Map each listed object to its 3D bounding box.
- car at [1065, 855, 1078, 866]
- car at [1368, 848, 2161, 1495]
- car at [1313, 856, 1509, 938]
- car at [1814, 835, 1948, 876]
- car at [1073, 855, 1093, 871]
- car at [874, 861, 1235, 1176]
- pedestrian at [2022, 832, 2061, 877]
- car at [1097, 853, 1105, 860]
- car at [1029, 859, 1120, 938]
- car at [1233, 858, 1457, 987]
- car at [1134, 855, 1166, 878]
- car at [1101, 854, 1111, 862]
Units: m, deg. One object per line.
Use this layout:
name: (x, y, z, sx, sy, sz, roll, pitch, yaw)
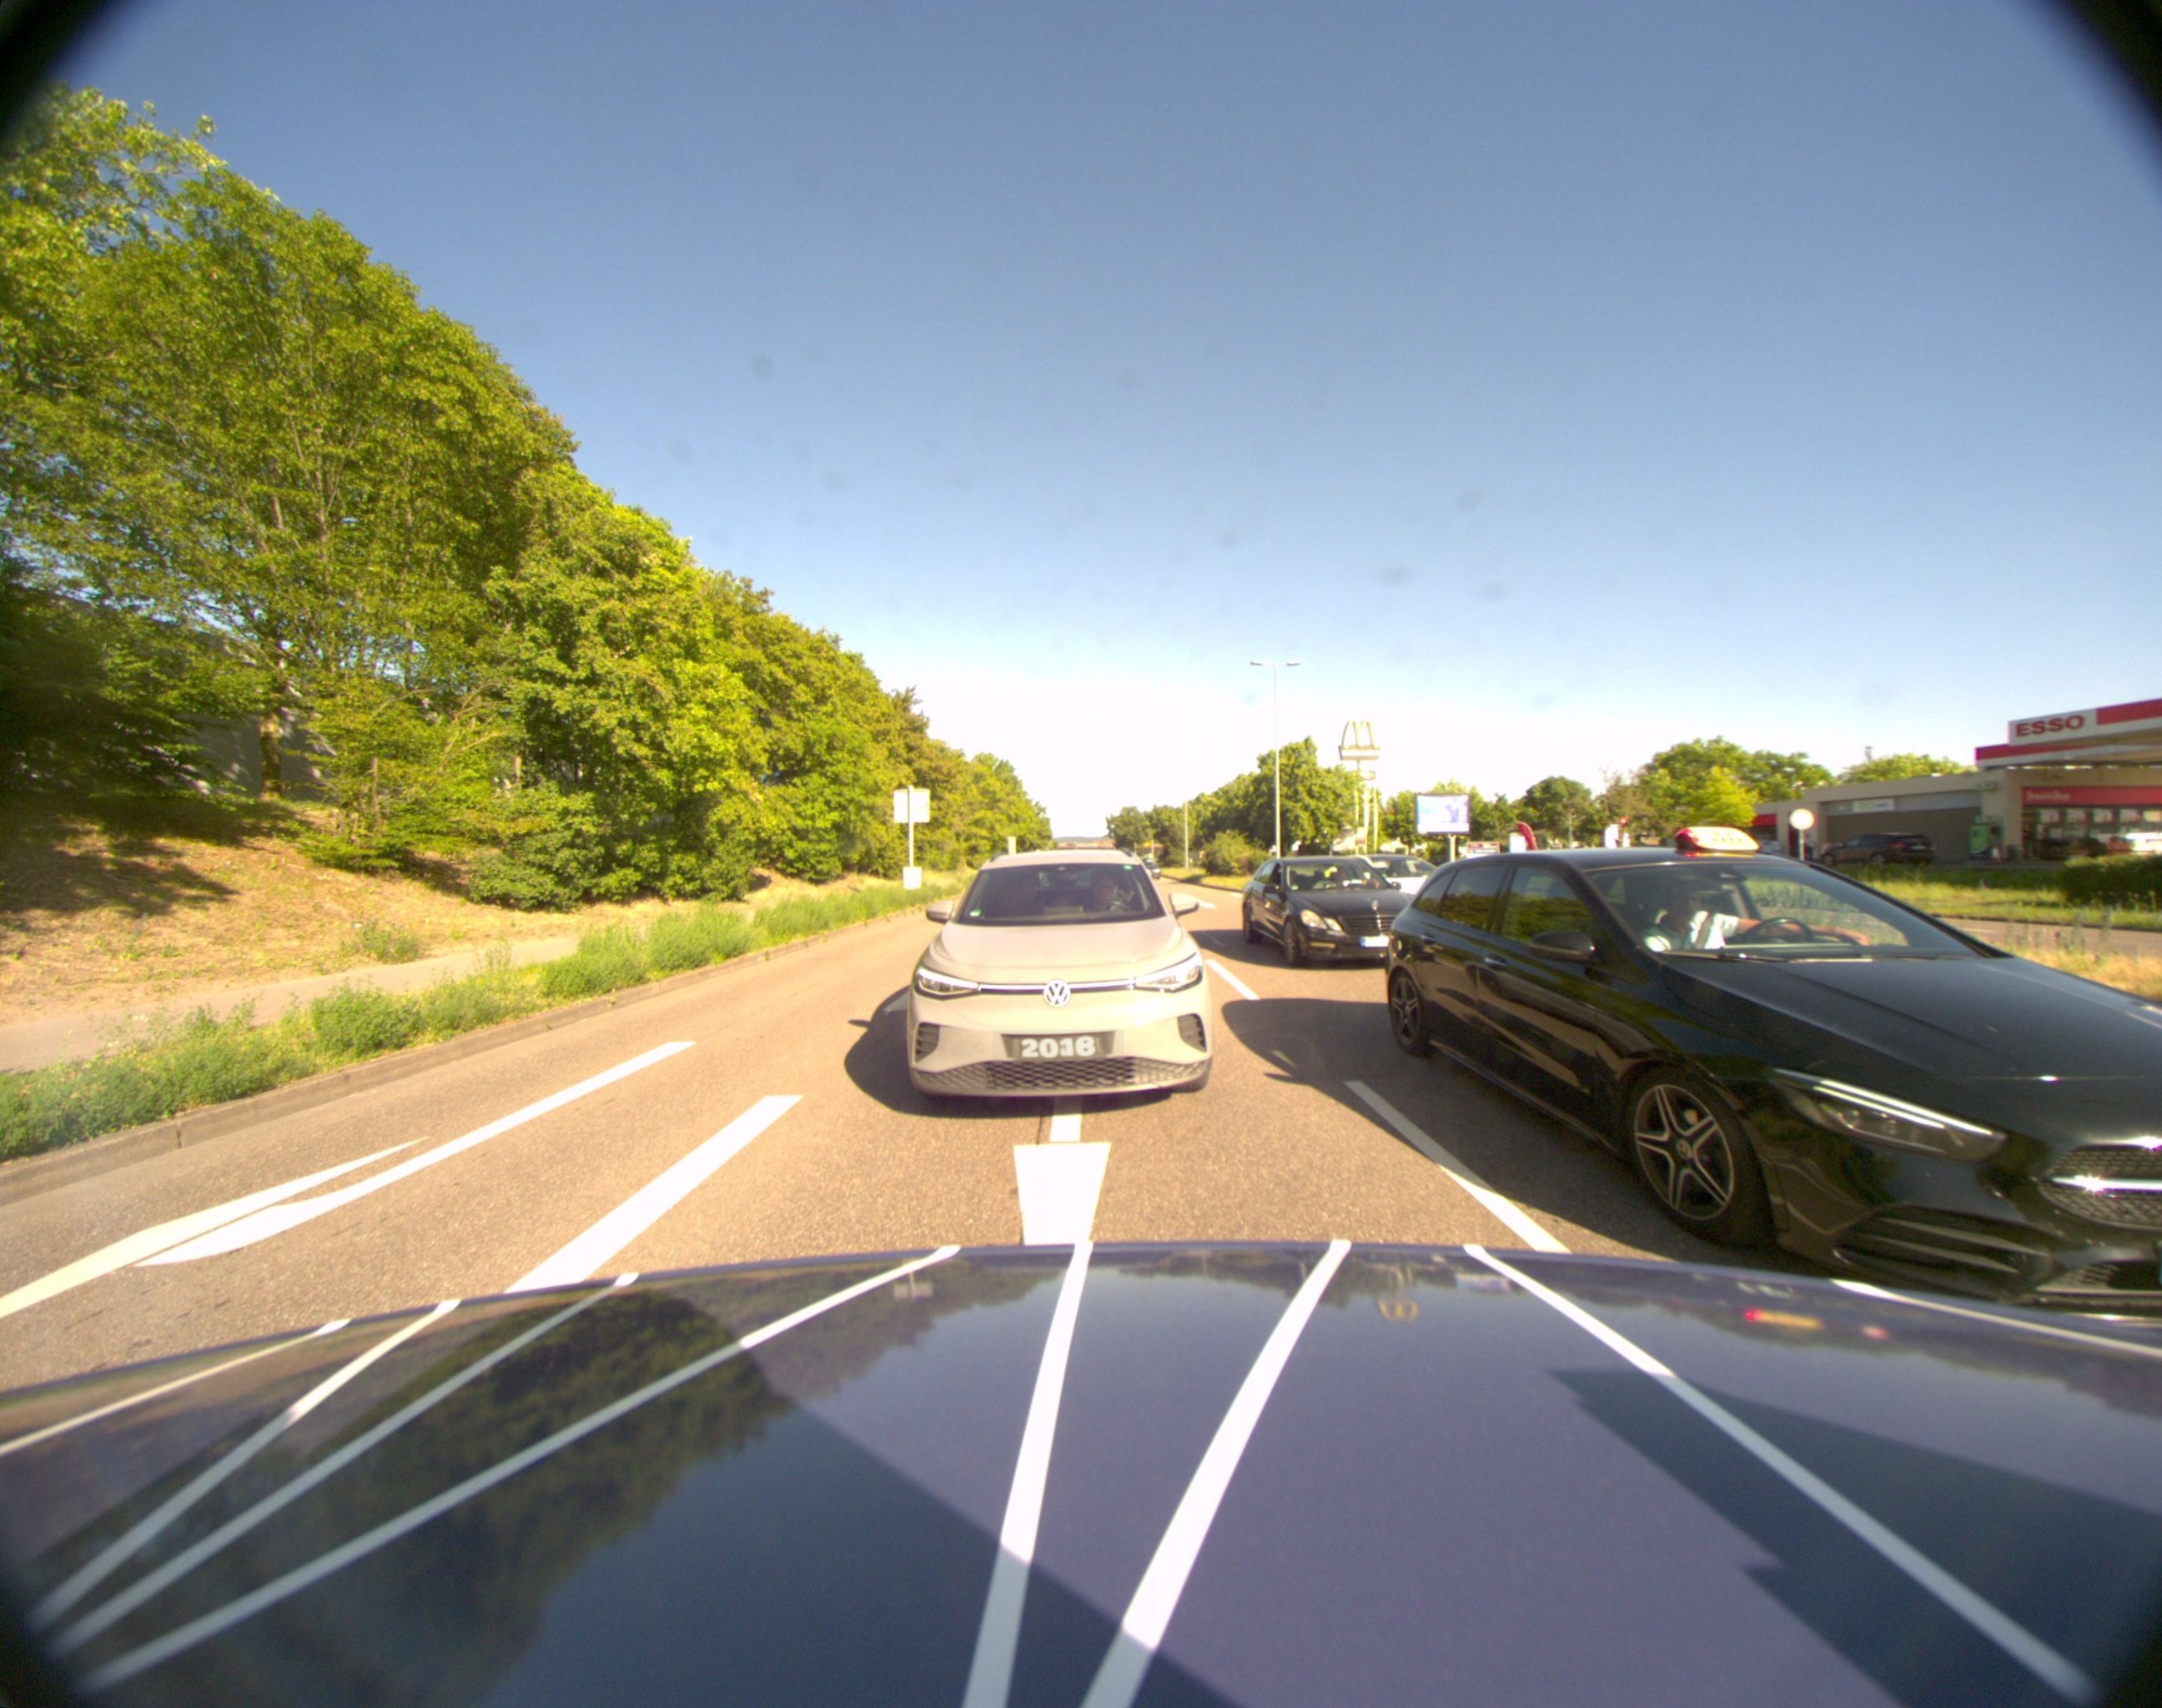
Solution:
car: (-1.418, 1.020, 119.239, 1.862, 1.578, 4.403, -1, 0, 1)
car: (3.167, 0.804, 3.997, 1.804, 1.616, 4.188, -1, 0, 2)
car: (6.639, 0.780, 15.911, 1.863, 1.421, 4.401, -1, 0, -5)
car: (37.220, 0.058, 35.507, 1.998, 1.759, 4.118, -1, 0, 2)
car: (0.293, 1.061, 90.778, 2.289, 1.863, 5.268, -1, 0, 1)
car: (-0.115, 0.894, 5.998, 1.871, 1.588, 3.932, -2, 0, 1)
pedestrian: (43.343, 0.013, 34.281, 0.703, 2.002, 0.840, -1, 1, 1)
car: (4.935, 0.625, 185.865, 1.862, 1.578, 4.403, -1, 0, 1)
car: (-0.111, 0.895, 16.974, 1.765, 1.503, 3.760, -2, 0, 1)
car: (3.648, 0.845, 11.430, 1.862, 1.515, 4.403, -1, 0, 1)
car: (4.699, 0.842, 52.148, 1.862, 1.472, 4.403, -1, 0, 1)
car: (4.989, 0.746, 151.793, 1.862, 1.578, 4.403, -1, 0, 1)
